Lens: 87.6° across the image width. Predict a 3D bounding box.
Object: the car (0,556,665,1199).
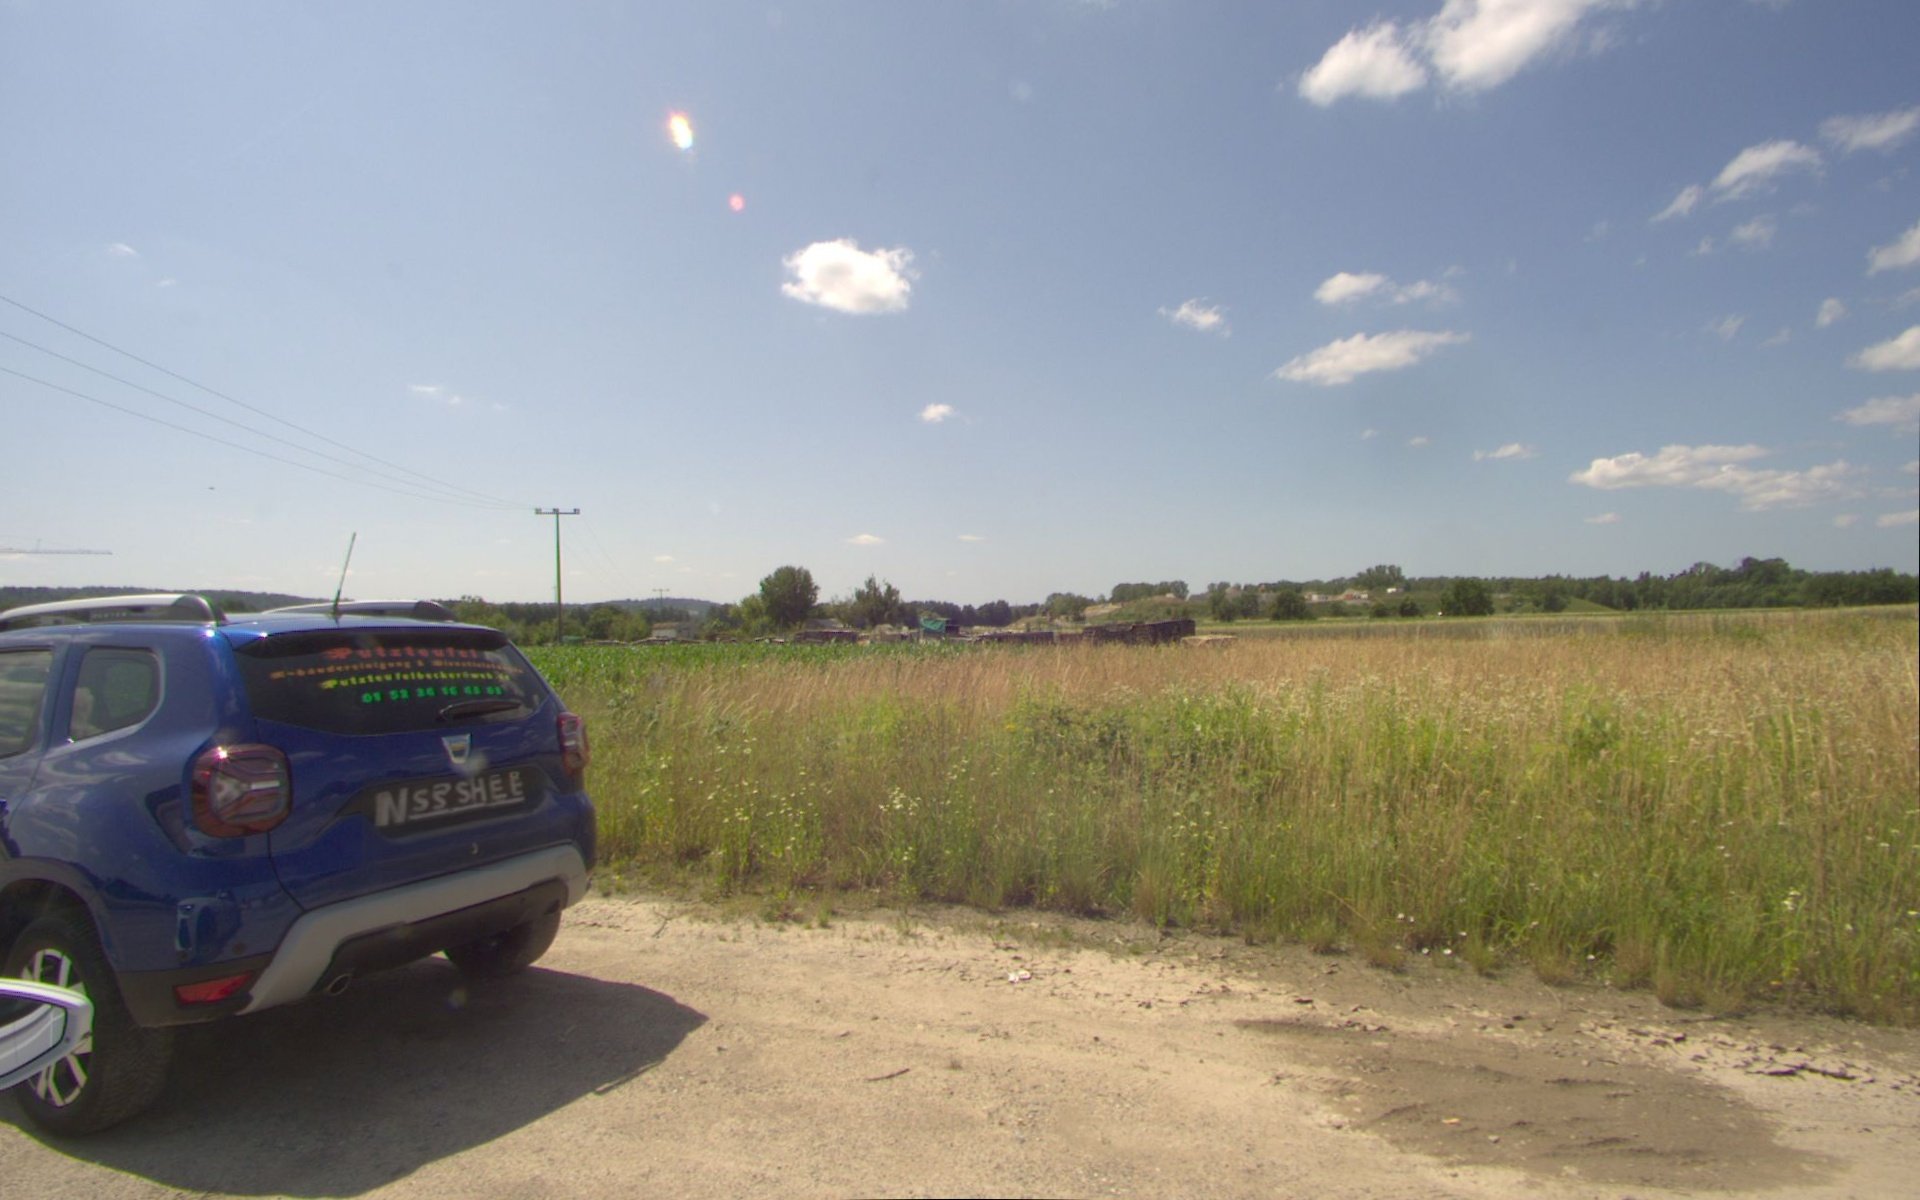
[{"bbox_3d":[-3.658,0.850,4.397,4.386,1.681,1.859,-3,-2,24],"label":"car"}]
